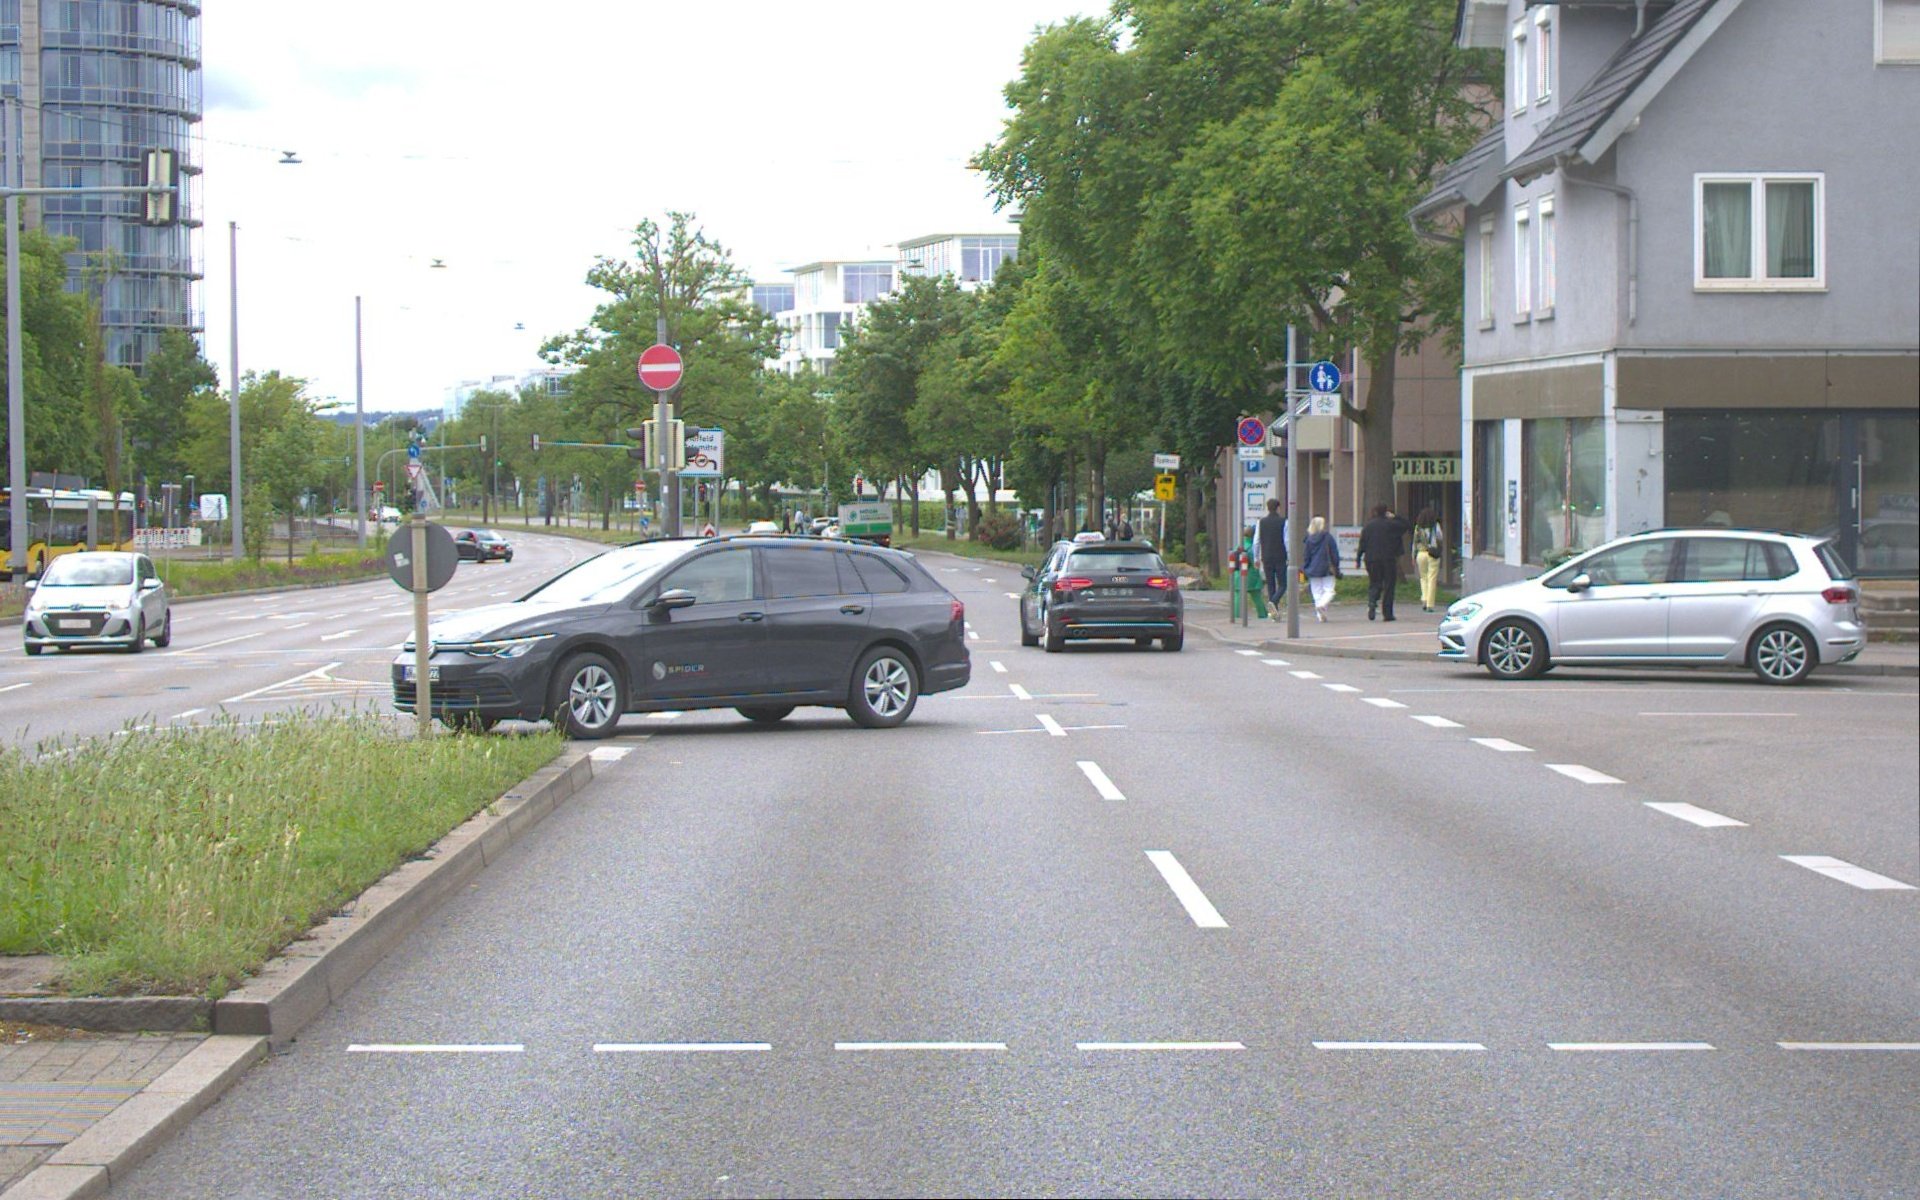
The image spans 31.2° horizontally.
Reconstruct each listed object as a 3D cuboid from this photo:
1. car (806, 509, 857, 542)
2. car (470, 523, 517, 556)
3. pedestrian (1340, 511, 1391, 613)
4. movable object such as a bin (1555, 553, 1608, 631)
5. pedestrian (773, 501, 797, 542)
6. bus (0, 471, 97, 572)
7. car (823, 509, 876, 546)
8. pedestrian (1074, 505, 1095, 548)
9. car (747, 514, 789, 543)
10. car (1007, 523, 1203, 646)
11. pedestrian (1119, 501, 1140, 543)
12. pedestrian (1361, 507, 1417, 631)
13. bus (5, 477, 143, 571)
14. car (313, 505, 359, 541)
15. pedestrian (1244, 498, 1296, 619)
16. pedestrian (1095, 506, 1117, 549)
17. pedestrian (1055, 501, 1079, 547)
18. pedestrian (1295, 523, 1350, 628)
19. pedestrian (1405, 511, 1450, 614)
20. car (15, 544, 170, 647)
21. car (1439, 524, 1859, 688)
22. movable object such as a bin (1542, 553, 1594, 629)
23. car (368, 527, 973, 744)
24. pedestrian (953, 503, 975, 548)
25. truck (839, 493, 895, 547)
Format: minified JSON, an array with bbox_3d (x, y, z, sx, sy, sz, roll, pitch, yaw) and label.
[{"bbox_3d":[-6.505,-3.743,173.864,2.250,1.641,4.934,-1,1,-5],"label":"car"},{"bbox_3d":[-21.782,-2.835,160.561,1.702,1.487,3.563,-1,1,-15],"label":"car"},{"bbox_3d":[6.626,-0.626,56.229,0.705,1.656,0.870,-1,1,0],"label":"pedestrian"},{"bbox_3d":[7.957,-0.104,44.053,0.529,0.976,0.736,-1,1,-1],"label":"movable object such as a bin"},{"bbox_3d":[-10.113,-4.540,198.912,1.232,2.393,1.310,-1,1,-10],"label":"pedestrian"},{"bbox_3d":[-31.397,-2.571,114.470,3.144,3.214,10.286,-1,1,-3],"label":"bus"},{"bbox_3d":[-5.309,-3.478,165.070,2.251,1.751,4.934,-1,1,-5],"label":"car"},{"bbox_3d":[4.575,-2.700,126.157,0.650,1.564,0.671,-1,1,-8],"label":"pedestrian"},{"bbox_3d":[-9.690,-3.597,173.157,1.967,1.415,4.023,-1,1,-5],"label":"car"},{"bbox_3d":[1.821,-0.217,44.491,1.889,1.489,4.100,-1,1,-7],"label":"car"},{"bbox_3d":[6.214,-2.861,126.261,0.650,1.564,0.671,-1,1,-8],"label":"pedestrian"},{"bbox_3d":[6.172,-0.453,49.508,0.705,1.754,1.052,-1,1,3],"label":"pedestrian"},{"bbox_3d":[-31.735,-2.712,123.474,3.144,3.214,7.766,-1,1,-2],"label":"bus"},{"bbox_3d":[-36.332,-4.466,200.267,1.965,2.007,4.000,1,1,-1],"label":"car"},{"bbox_3d":[4.599,-0.612,51.002,0.705,1.773,0.870,-1,1,2],"label":"pedestrian"},{"bbox_3d":[5.354,-2.667,126.058,0.650,1.564,0.671,-1,1,-8],"label":"pedestrian"},{"bbox_3d":[4.688,-3.327,150.323,0.971,2.007,0.981,1,0,-1],"label":"pedestrian"},{"bbox_3d":[5.290,-0.362,50.185,0.705,1.502,0.870,-1,1,0],"label":"pedestrian"},{"bbox_3d":[7.592,-0.613,55.863,0.705,1.656,0.870,0,1,8],"label":"pedestrian"},{"bbox_3d":[-12.806,-0.092,50.929,1.684,1.457,3.556,-1,1,-5],"label":"car"},{"bbox_3d":[7.153,0.038,35.579,4.104,1.535,1.827,2,1,15],"label":"car"},{"bbox_3d":[7.929,-0.121,44.844,0.529,0.976,0.736,-1,1,-1],"label":"movable object such as a bin"},{"bbox_3d":[-2.119,0.211,25.830,4.275,1.476,1.714,-1,2,-38],"label":"car"},{"bbox_3d":[0.205,-3.864,178.688,0.930,2.300,1.011,1,0,-10],"label":"pedestrian"},{"bbox_3d":[-4.264,-3.646,156.473,2.251,2.408,4.934,0,1,-5],"label":"truck"}]
